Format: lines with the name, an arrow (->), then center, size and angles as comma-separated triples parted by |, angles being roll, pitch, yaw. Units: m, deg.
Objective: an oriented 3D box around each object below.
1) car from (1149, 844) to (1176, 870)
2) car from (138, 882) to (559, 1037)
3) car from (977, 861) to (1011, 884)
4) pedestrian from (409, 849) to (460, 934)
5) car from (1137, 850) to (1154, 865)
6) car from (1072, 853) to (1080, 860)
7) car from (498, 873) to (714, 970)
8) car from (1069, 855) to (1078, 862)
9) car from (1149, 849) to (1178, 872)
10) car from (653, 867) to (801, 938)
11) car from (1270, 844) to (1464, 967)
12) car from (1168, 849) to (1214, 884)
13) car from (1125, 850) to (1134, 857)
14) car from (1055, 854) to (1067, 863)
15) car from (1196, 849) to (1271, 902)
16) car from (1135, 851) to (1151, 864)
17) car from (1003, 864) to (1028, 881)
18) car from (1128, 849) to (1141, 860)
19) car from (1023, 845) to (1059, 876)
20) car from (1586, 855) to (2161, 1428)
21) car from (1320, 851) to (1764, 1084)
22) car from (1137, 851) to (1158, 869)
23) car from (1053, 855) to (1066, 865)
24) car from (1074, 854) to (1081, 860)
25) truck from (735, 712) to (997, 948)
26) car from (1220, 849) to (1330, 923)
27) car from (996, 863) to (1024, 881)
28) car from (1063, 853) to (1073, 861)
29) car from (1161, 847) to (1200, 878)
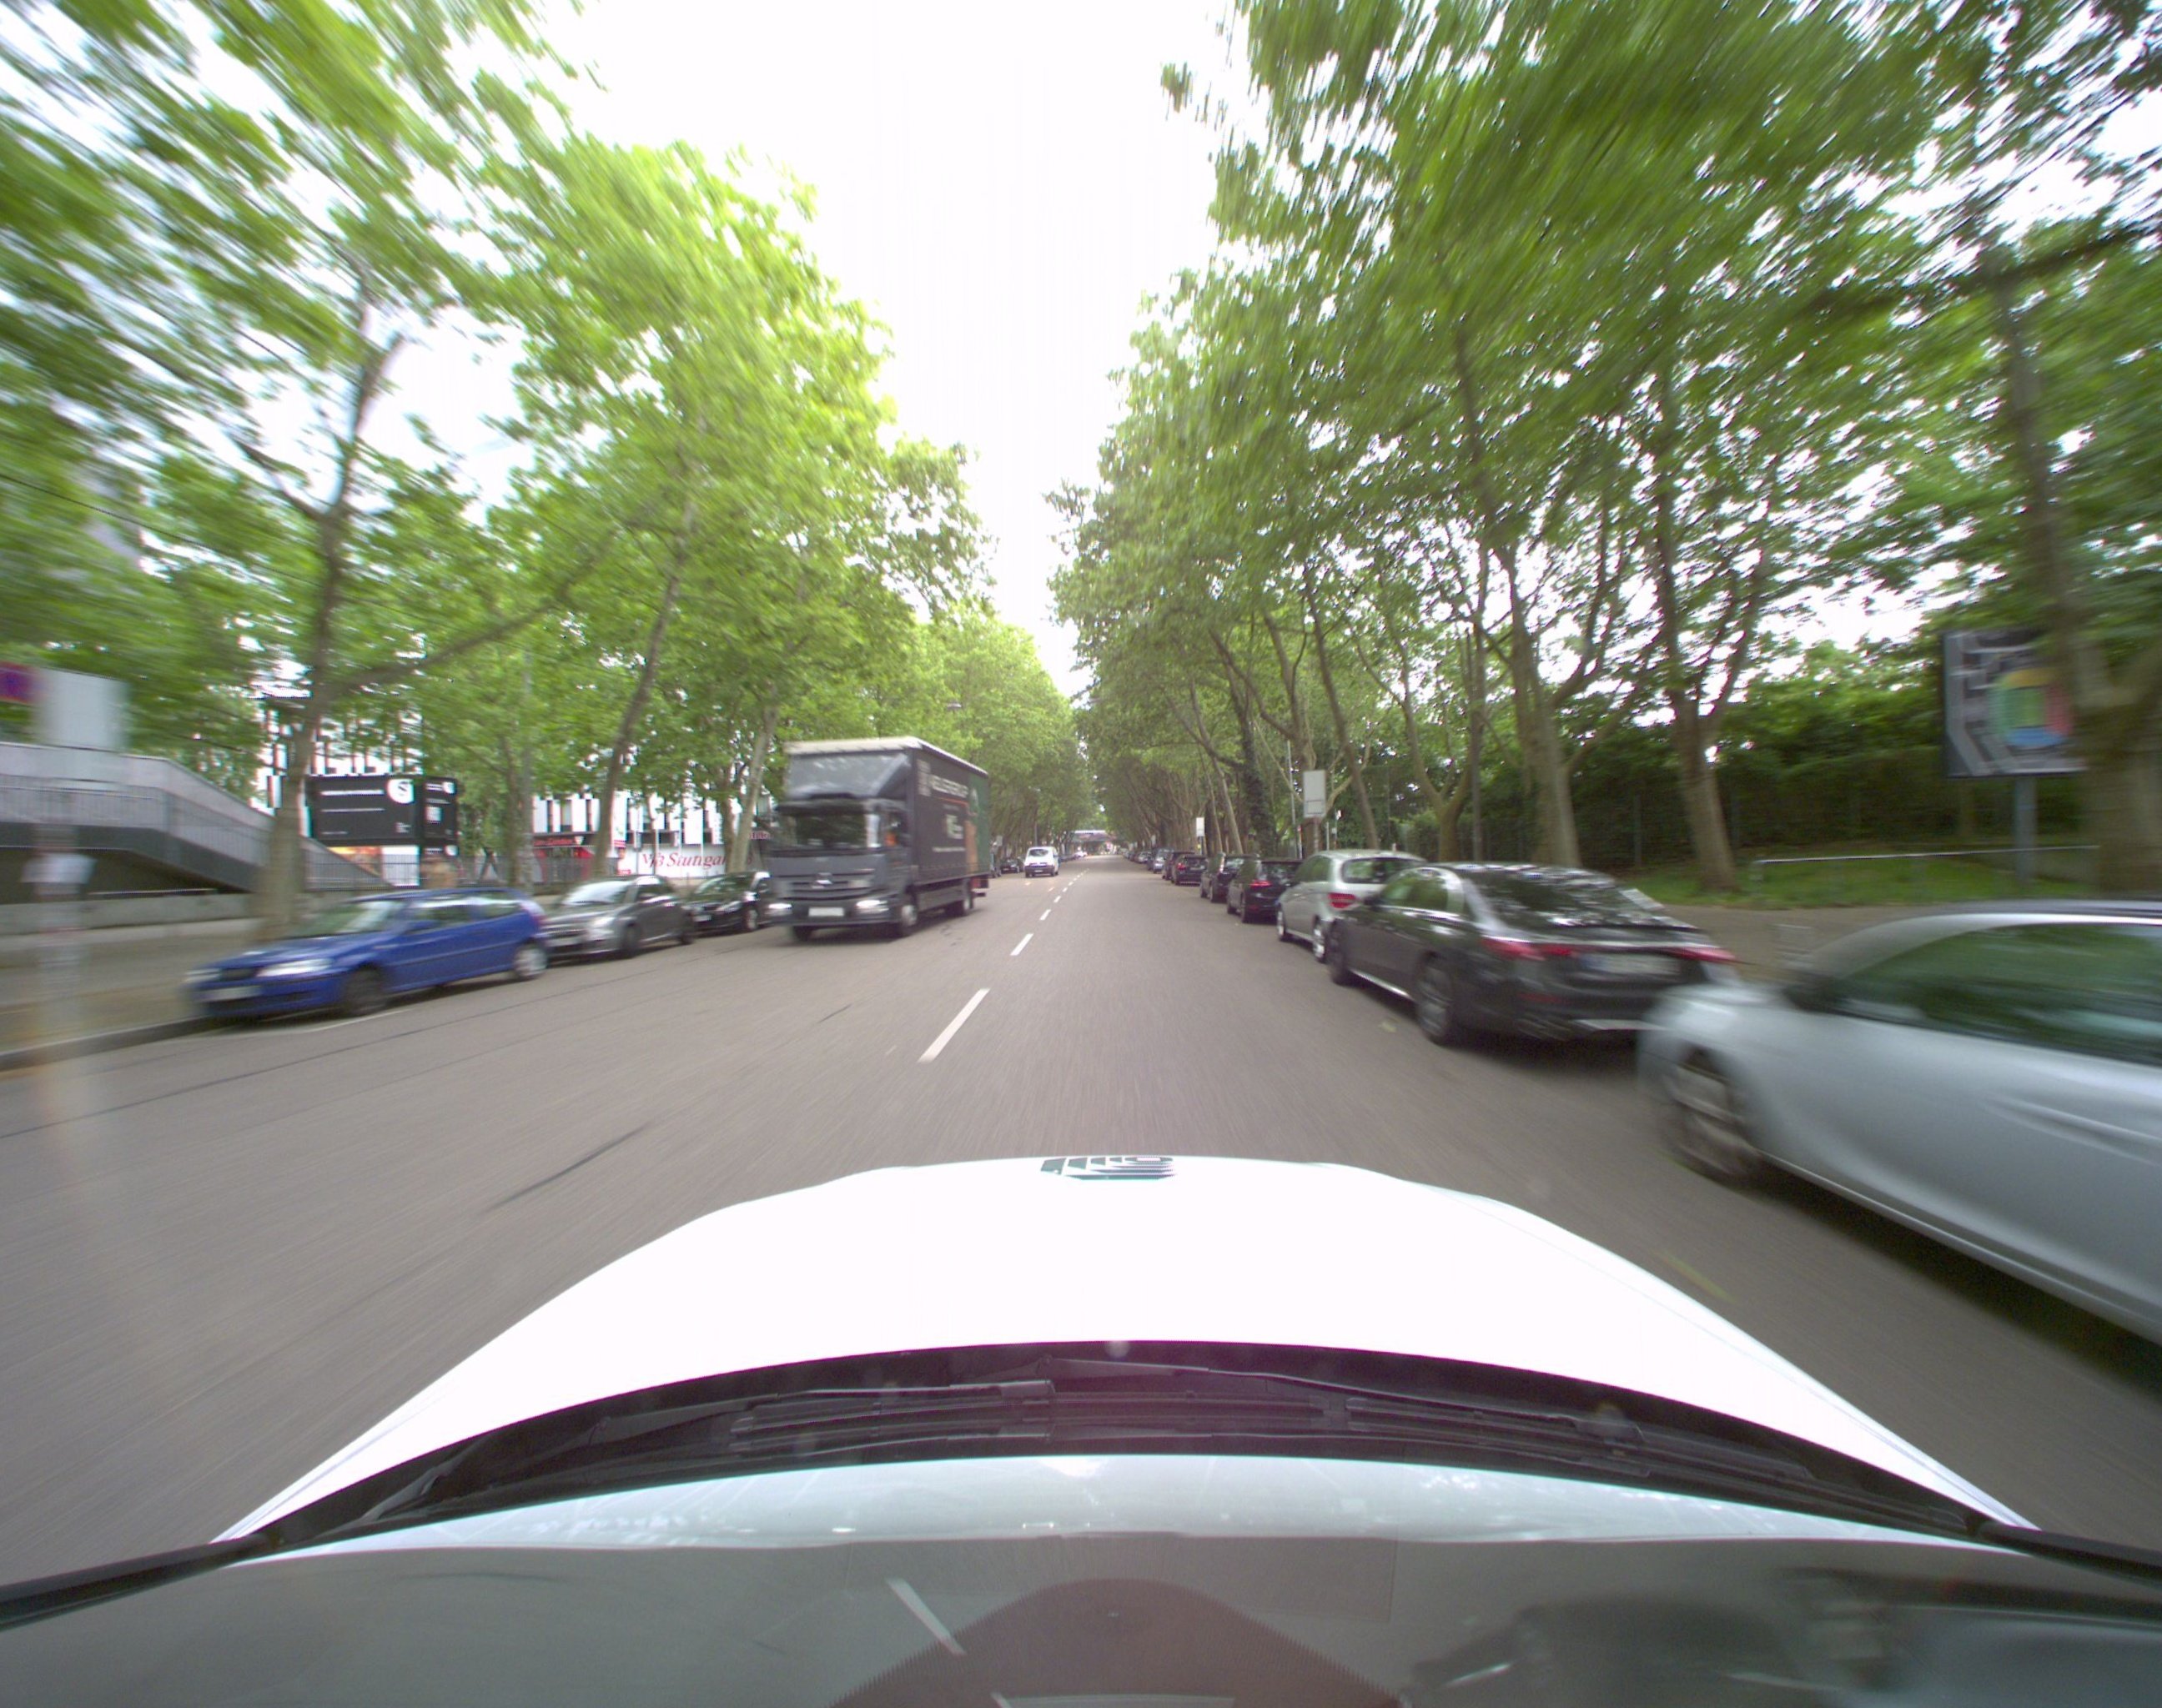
car -> 6.461, 0.238, 64.977 | 1.749, 1.815, 3.931 | -6, 1, 2
car -> -8.877, 1.166, 10.379 | 1.687, 1.418, 3.767 | -4, -1, 5
car -> -6.027, 1.313, 56.876 | 1.889, 1.438, 3.999 | -3, -2, 0
pedestrian -> -14.501, 0.814, 18.281 | 0.775, 1.834, 0.870 | -1, 0, -33
car -> 7.406, 0.387, 94.057 | 1.749, 1.534, 3.930 | -3, 0, 2
car -> -1.115, 0.614, 187.630 | 1.749, 1.534, 3.930 | 1, 0, 2
car -> -8.565, 1.138, 15.106 | 1.761, 1.418, 3.759 | -4, -1, -1
car -> -1.617, 0.888, 170.556 | 1.749, 1.534, 3.930 | 1, 0, 2
car -> 5.838, 0.465, 57.949 | 1.749, 1.534, 3.930 | 1, 0, 2
car -> -8.405, 1.100, 19.730 | 1.759, 1.418, 3.762 | -4, -1, 1
car -> 4.230, 0.674, 12.721 | 1.749, 1.597, 3.930 | 1, 0, 2
car -> 5.092, 0.544, 38.089 | 1.749, 1.534, 3.930 | 1, 0, 2
car -> 10.579, -0.150, 177.049 | 1.749, 1.534, 3.930 | 1, 0, 2
car -> -3.460, 0.746, 141.392 | 1.749, 1.534, 3.930 | 1, 0, 2
car -> 4.745, 0.627, 25.868 | 1.749, 1.534, 3.930 | 1, 0, 2
car -> 7.568, 0.423, 99.469 | 1.749, 1.534, 3.930 | -3, 0, 2
car -> -5.955, 1.679, 74.200 | 1.889, 1.438, 3.999 | -3, -2, 0
car -> 7.936, 0.097, 121.106 | 1.749, 1.534, 3.930 | 1, 0, 2
car -> -2.590, 0.404, 53.798 | 1.973, 1.933, 4.114 | -1, 0, 2
car -> 3.723, 0.779, 2.936 | 1.668, 1.490, 3.690 | 2, 0, 4
car -> 3.735, 0.756, 7.662 | 1.749, 1.490, 4.418 | 2, 0, 2
car -> 6.109, 0.546, 74.960 | 1.749, 1.534, 3.930 | 1, 0, 2
car -> -3.228, 0.882, 124.577 | 1.749, 1.534, 3.930 | 1, 0, 2
car -> -0.821, 0.771, 219.322 | 1.749, 1.534, 3.930 | 1, 0, 2
truck -> -4.176, -0.413, 18.651 | 2.629, 3.901, 9.551 | -3, 0, 4
car -> 4.420, 0.678, 19.089 | 1.749, 1.534, 3.930 | 1, 0, 2
car -> -6.068, 1.575, 70.039 | 1.889, 1.438, 3.999 | -3, -2, 0
car -> -2.535, 0.661, 160.242 | 1.749, 1.534, 3.930 | 1, 0, 2
car -> 5.328, 0.435, 44.076 | 1.749, 1.534, 3.931 | -1, 1, 2
